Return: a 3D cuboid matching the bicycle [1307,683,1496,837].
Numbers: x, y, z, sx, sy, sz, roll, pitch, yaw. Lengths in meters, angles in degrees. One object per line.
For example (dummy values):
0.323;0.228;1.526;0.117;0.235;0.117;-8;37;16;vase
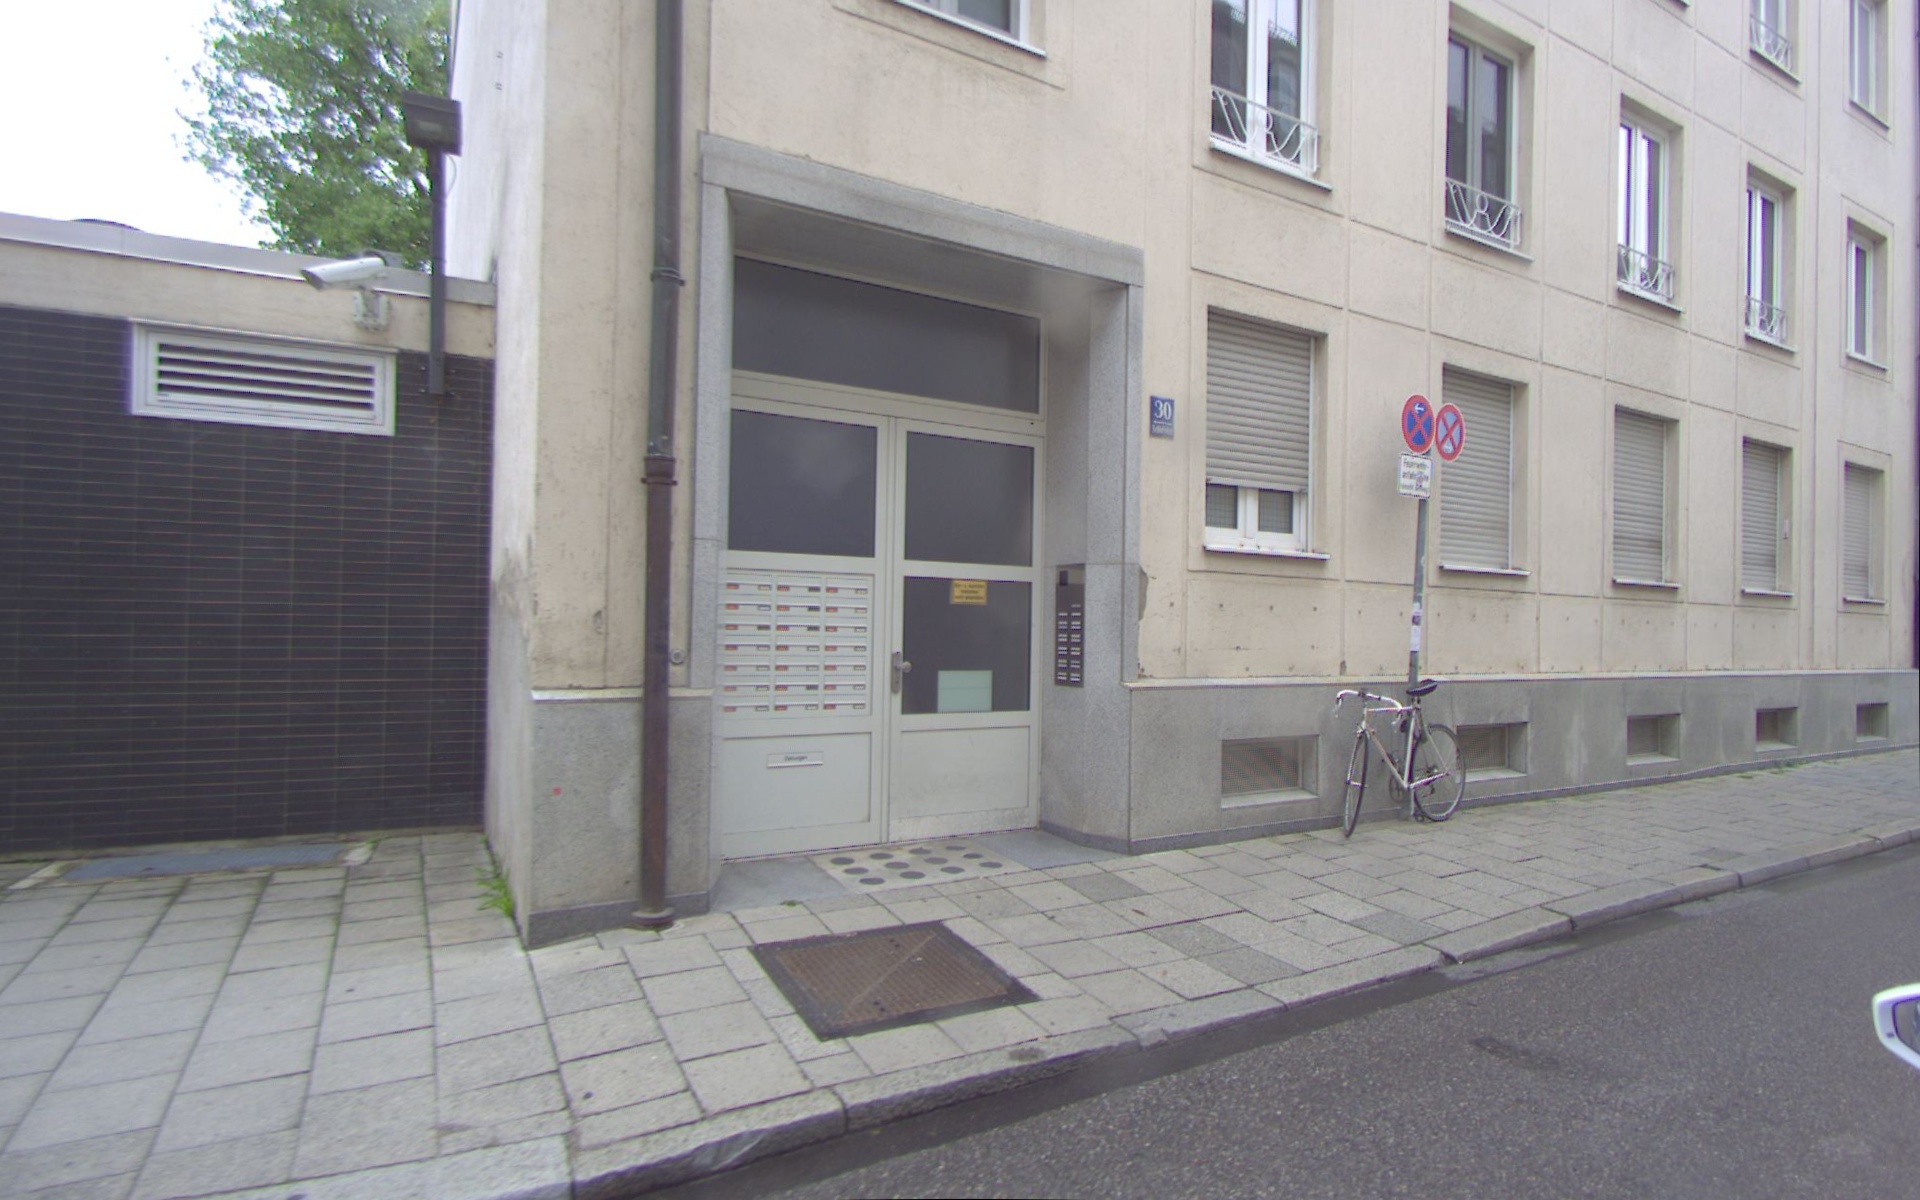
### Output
3.157;1.100;7.135;1.554;0.956;0.318;1;2;-29;bicycle
